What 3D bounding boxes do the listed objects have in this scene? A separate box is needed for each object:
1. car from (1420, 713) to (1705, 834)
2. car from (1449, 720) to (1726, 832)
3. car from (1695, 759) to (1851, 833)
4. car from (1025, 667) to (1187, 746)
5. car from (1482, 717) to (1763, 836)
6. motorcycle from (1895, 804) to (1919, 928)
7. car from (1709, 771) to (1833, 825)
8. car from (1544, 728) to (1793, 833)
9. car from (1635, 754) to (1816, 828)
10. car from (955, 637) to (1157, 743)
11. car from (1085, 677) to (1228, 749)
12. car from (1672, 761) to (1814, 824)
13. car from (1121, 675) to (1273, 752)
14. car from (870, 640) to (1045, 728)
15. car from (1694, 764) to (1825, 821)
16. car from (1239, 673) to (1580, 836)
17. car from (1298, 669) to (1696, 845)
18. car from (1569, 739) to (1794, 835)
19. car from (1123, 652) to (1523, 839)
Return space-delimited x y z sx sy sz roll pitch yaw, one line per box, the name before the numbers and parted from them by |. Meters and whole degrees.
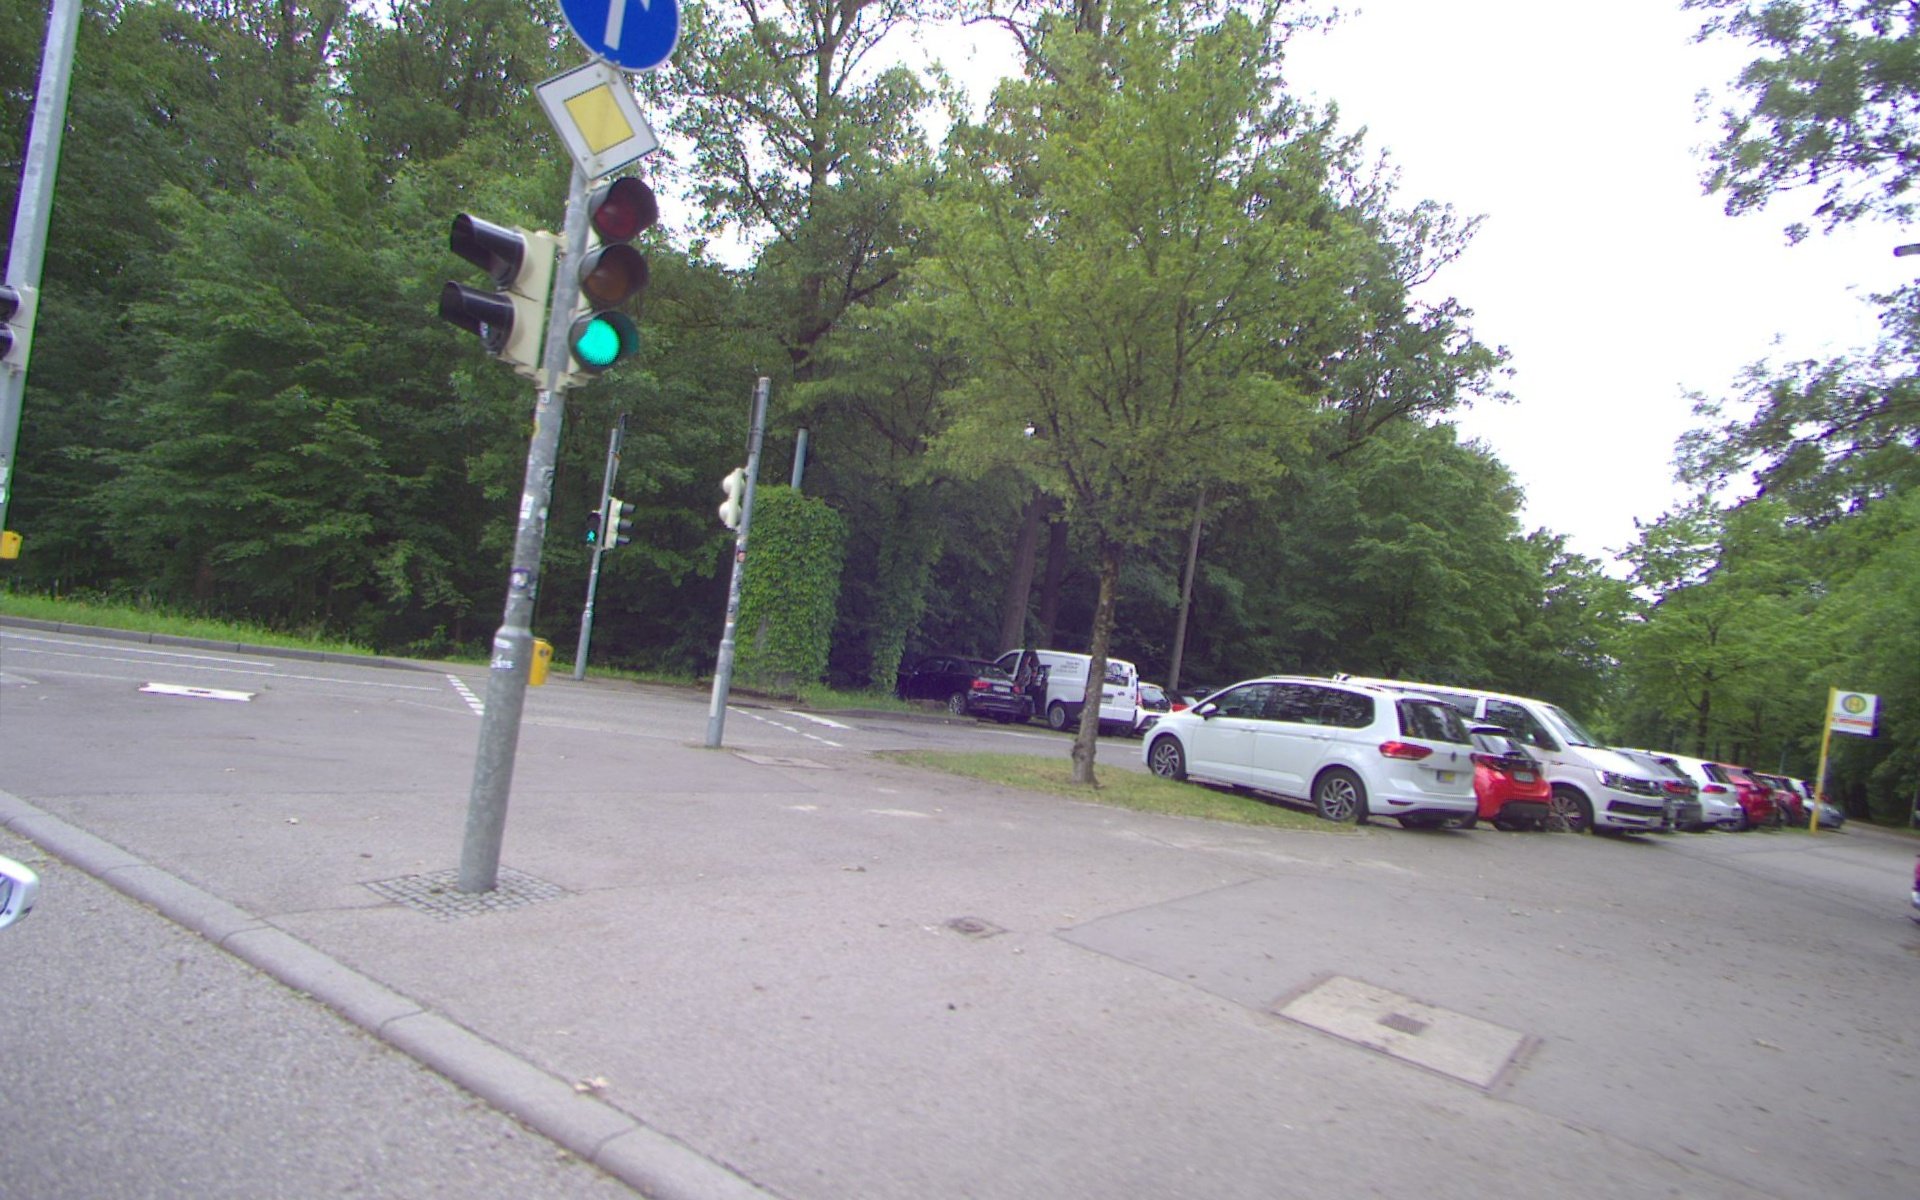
car | 10.534 3.010 17.800 1.711 1.342 3.893 11 -4 -40
car | 12.016 3.353 19.492 1.807 1.339 4.087 11 -4 -38
car | 23.498 5.642 29.135 1.511 1.445 3.243 11 -4 -43
car | 3.838 2.825 26.973 1.817 1.429 4.007 11 -4 -39
car | 13.709 3.617 21.037 1.832 1.574 4.481 11 -4 -40
motorcycle | 10.497 2.850 10.701 1.947 1.217 0.583 11 -4 -42
car | 33.220 8.086 41.274 1.650 1.443 3.724 11 -4 -44
car | 15.816 4.005 22.645 1.807 1.511 4.157 11 -4 -38
car | 21.149 5.264 27.890 1.612 1.280 3.728 11 -4 -43
car | 2.291 2.185 25.232 1.987 1.898 4.897 11 -4 -39
car | 5.550 3.195 28.702 1.771 1.429 3.570 11 -4 -39
car | 24.502 6.008 31.538 1.511 1.275 3.243 11 -4 -43
car | 7.101 3.393 30.391 1.839 1.639 3.942 11 -4 -43
car | -0.121 1.941 23.565 3.800 1.435 1.813 6 -4 45
car | 31.169 7.505 39.262 1.749 1.443 3.724 11 -4 -44
car | 6.288 2.133 14.485 1.879 1.568 3.965 10 -4 -34
car | 8.367 2.392 16.169 2.049 1.977 5.133 11 -5 -38
car | 17.399 4.486 24.418 1.752 1.473 4.026 11 -4 -38
car | 4.410 1.746 12.914 1.983 1.568 4.382 10 -4 -34
